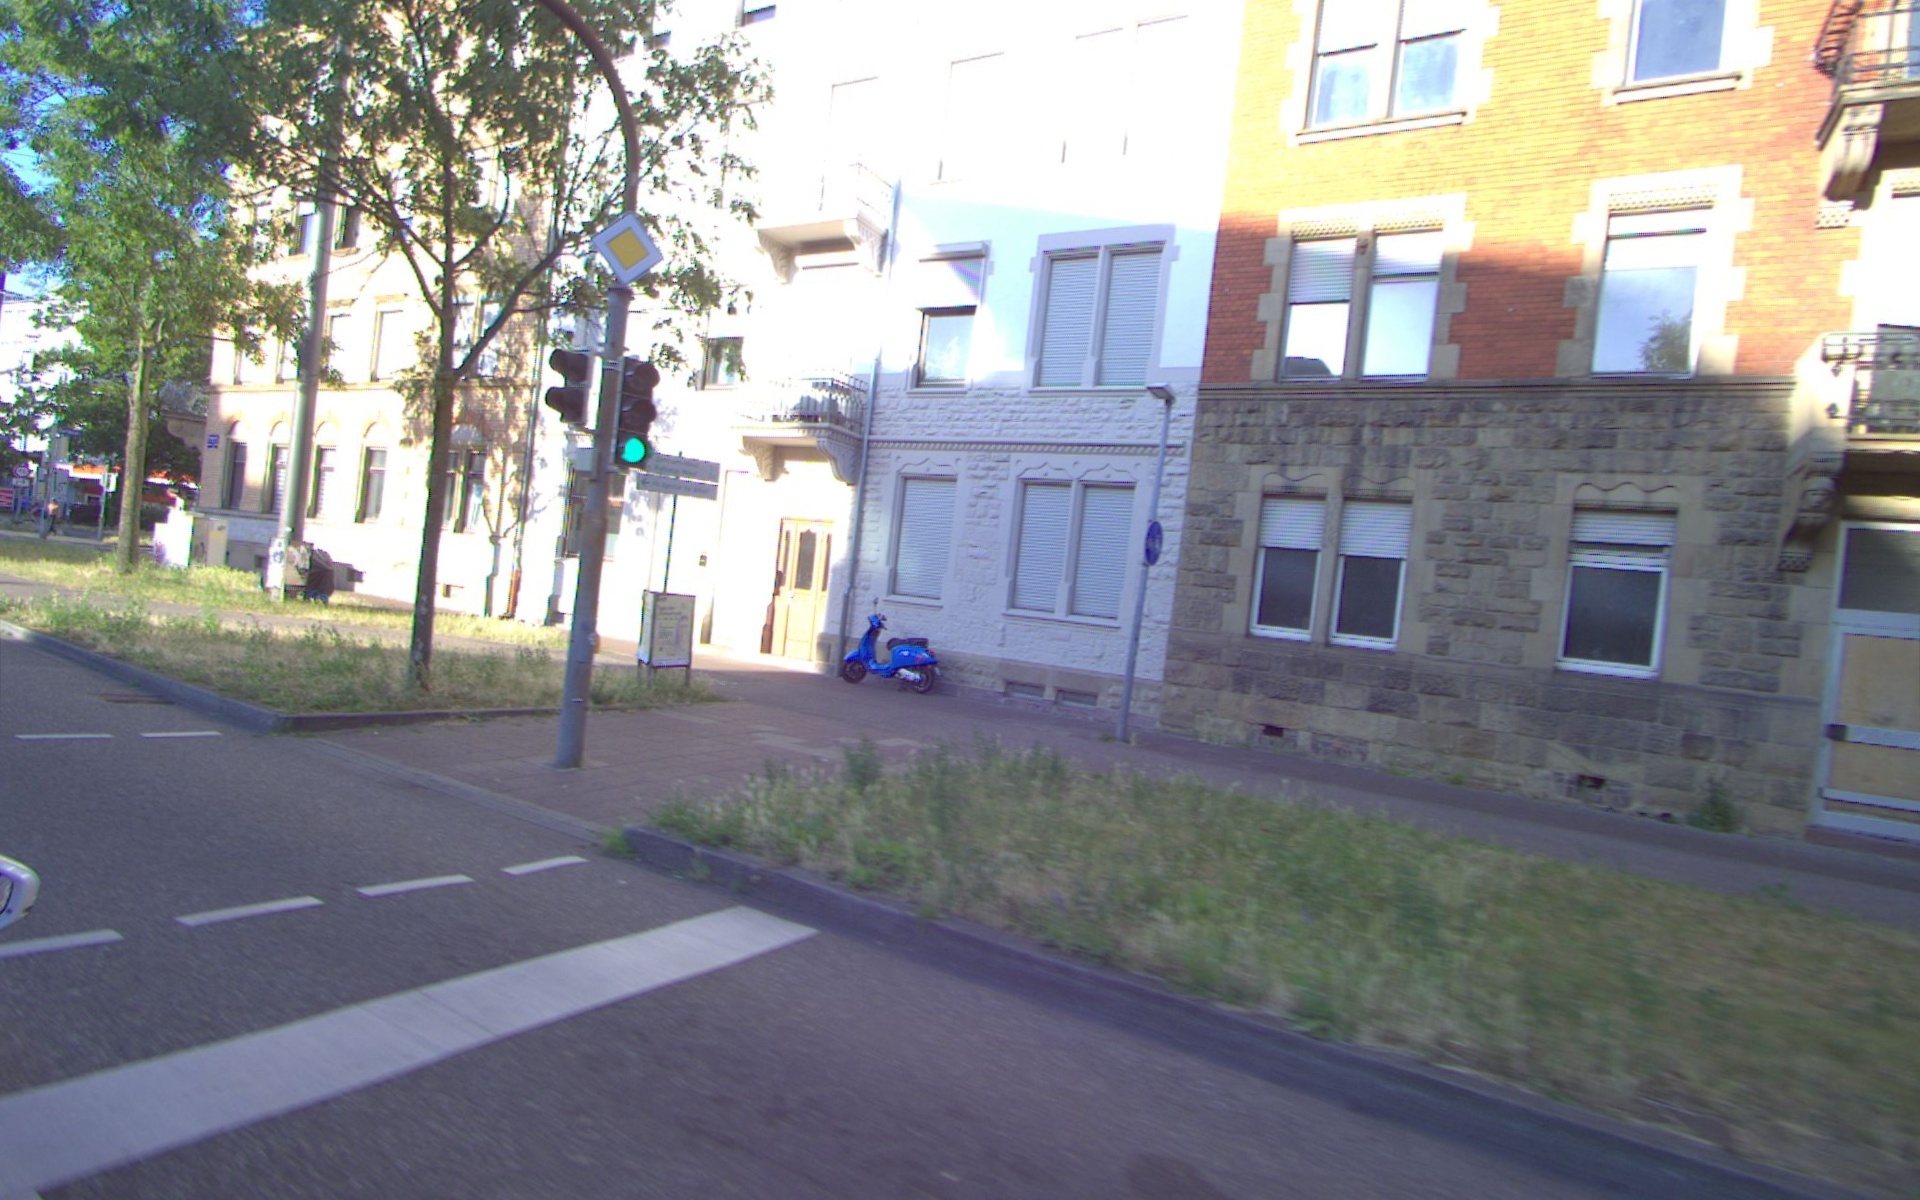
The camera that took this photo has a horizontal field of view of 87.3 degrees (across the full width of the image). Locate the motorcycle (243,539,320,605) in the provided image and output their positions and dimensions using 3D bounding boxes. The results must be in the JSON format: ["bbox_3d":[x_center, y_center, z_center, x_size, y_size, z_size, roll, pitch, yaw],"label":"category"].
[{"bbox_3d":[-12.778,-0.537,18.922,1.718,1.057,0.604,6,0,37],"label":"motorcycle"}]

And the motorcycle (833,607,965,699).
[{"bbox_3d":[-1.009,0.842,16.319,2.037,1.228,0.555,6,-1,29],"label":"motorcycle"}]

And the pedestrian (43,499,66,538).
[{"bbox_3d":[-39.766,-3.574,44.168,0.689,1.649,0.551,7,1,40],"label":"pedestrian"}]
